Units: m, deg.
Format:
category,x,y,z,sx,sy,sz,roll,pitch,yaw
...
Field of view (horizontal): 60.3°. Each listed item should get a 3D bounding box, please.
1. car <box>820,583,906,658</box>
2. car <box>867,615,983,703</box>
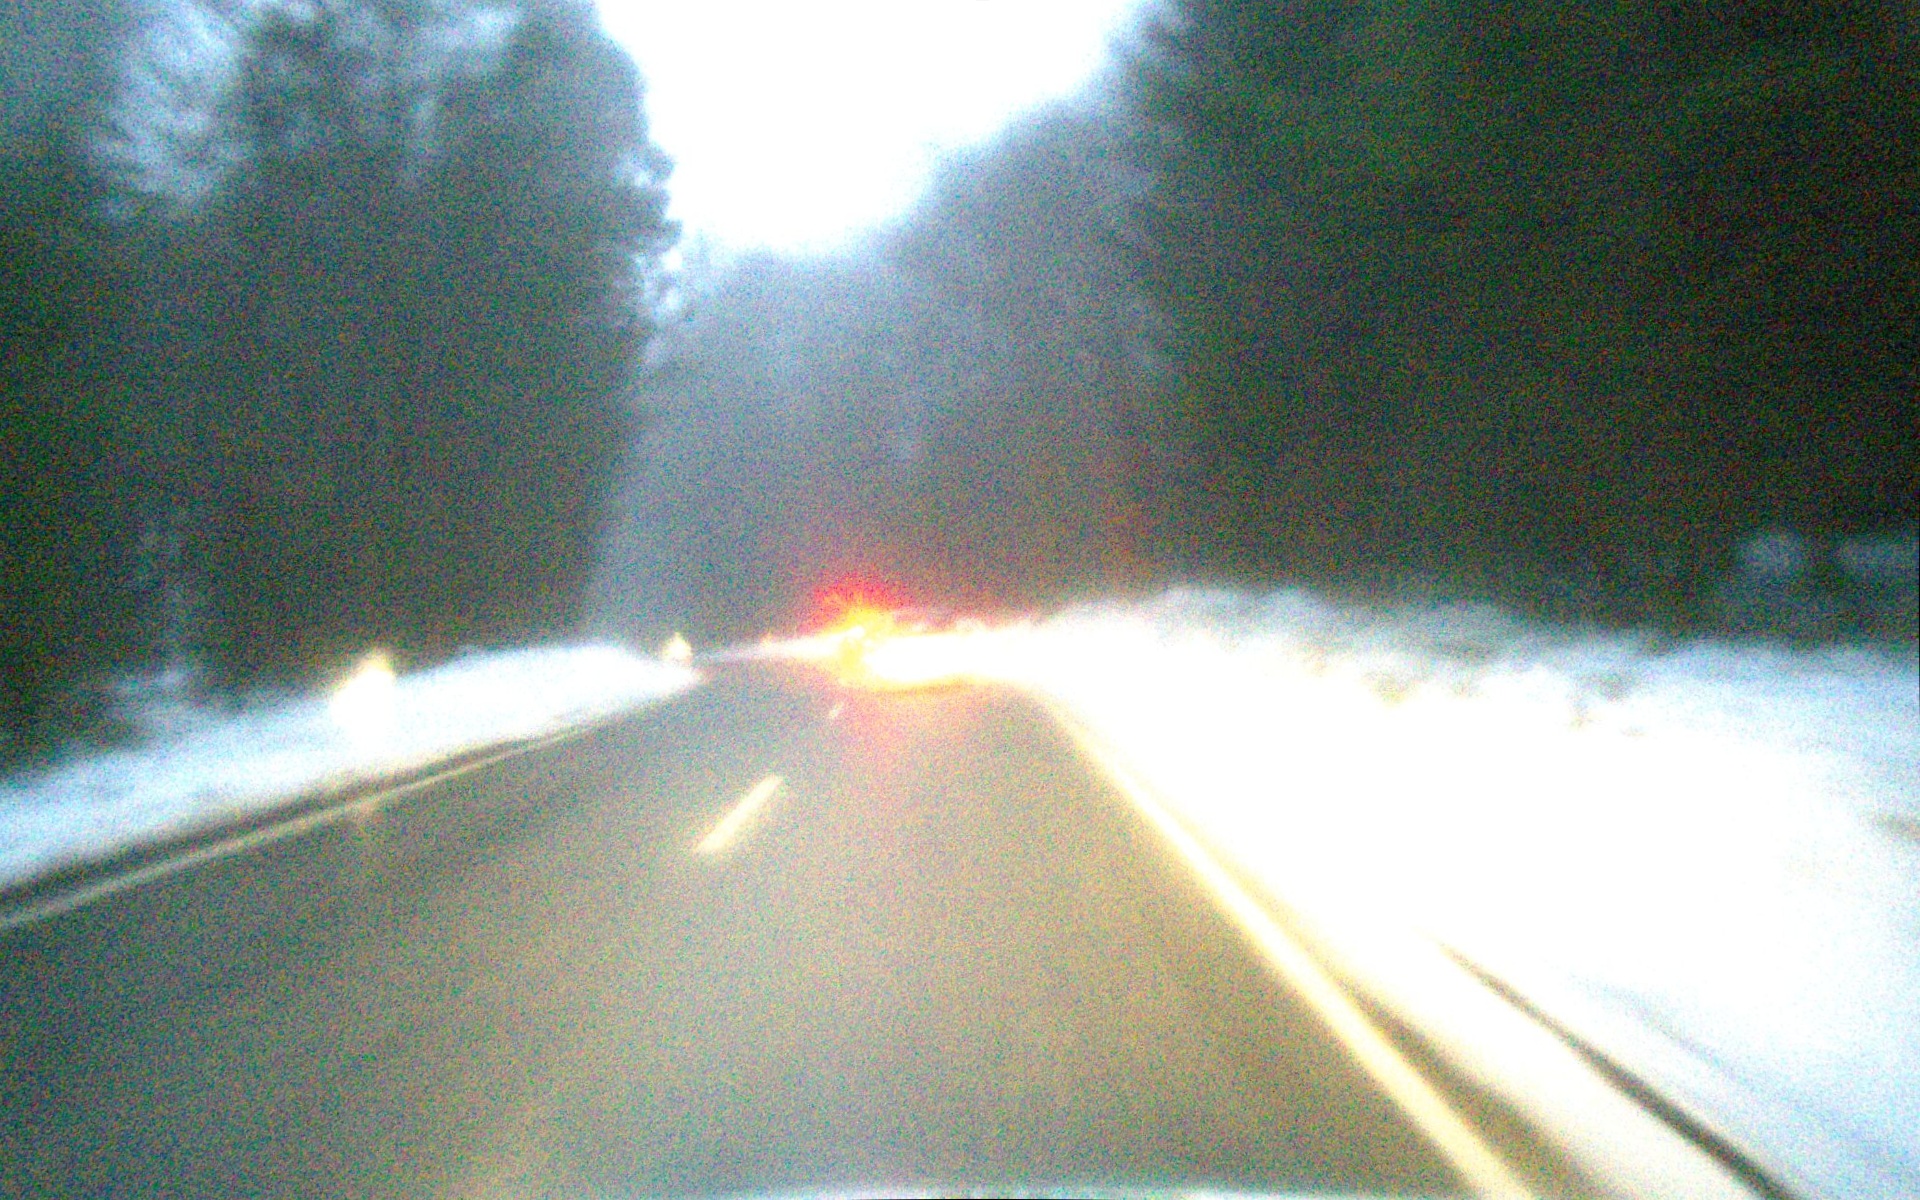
category,x,y,z,sx,sy,sz,roll,pitch,yaw
car,-2.842,0.649,47.824,1.957,1.814,3.990,4,-5,-9
car,-0.683,1.114,29.743,1.907,1.406,3.997,2,-4,-3
